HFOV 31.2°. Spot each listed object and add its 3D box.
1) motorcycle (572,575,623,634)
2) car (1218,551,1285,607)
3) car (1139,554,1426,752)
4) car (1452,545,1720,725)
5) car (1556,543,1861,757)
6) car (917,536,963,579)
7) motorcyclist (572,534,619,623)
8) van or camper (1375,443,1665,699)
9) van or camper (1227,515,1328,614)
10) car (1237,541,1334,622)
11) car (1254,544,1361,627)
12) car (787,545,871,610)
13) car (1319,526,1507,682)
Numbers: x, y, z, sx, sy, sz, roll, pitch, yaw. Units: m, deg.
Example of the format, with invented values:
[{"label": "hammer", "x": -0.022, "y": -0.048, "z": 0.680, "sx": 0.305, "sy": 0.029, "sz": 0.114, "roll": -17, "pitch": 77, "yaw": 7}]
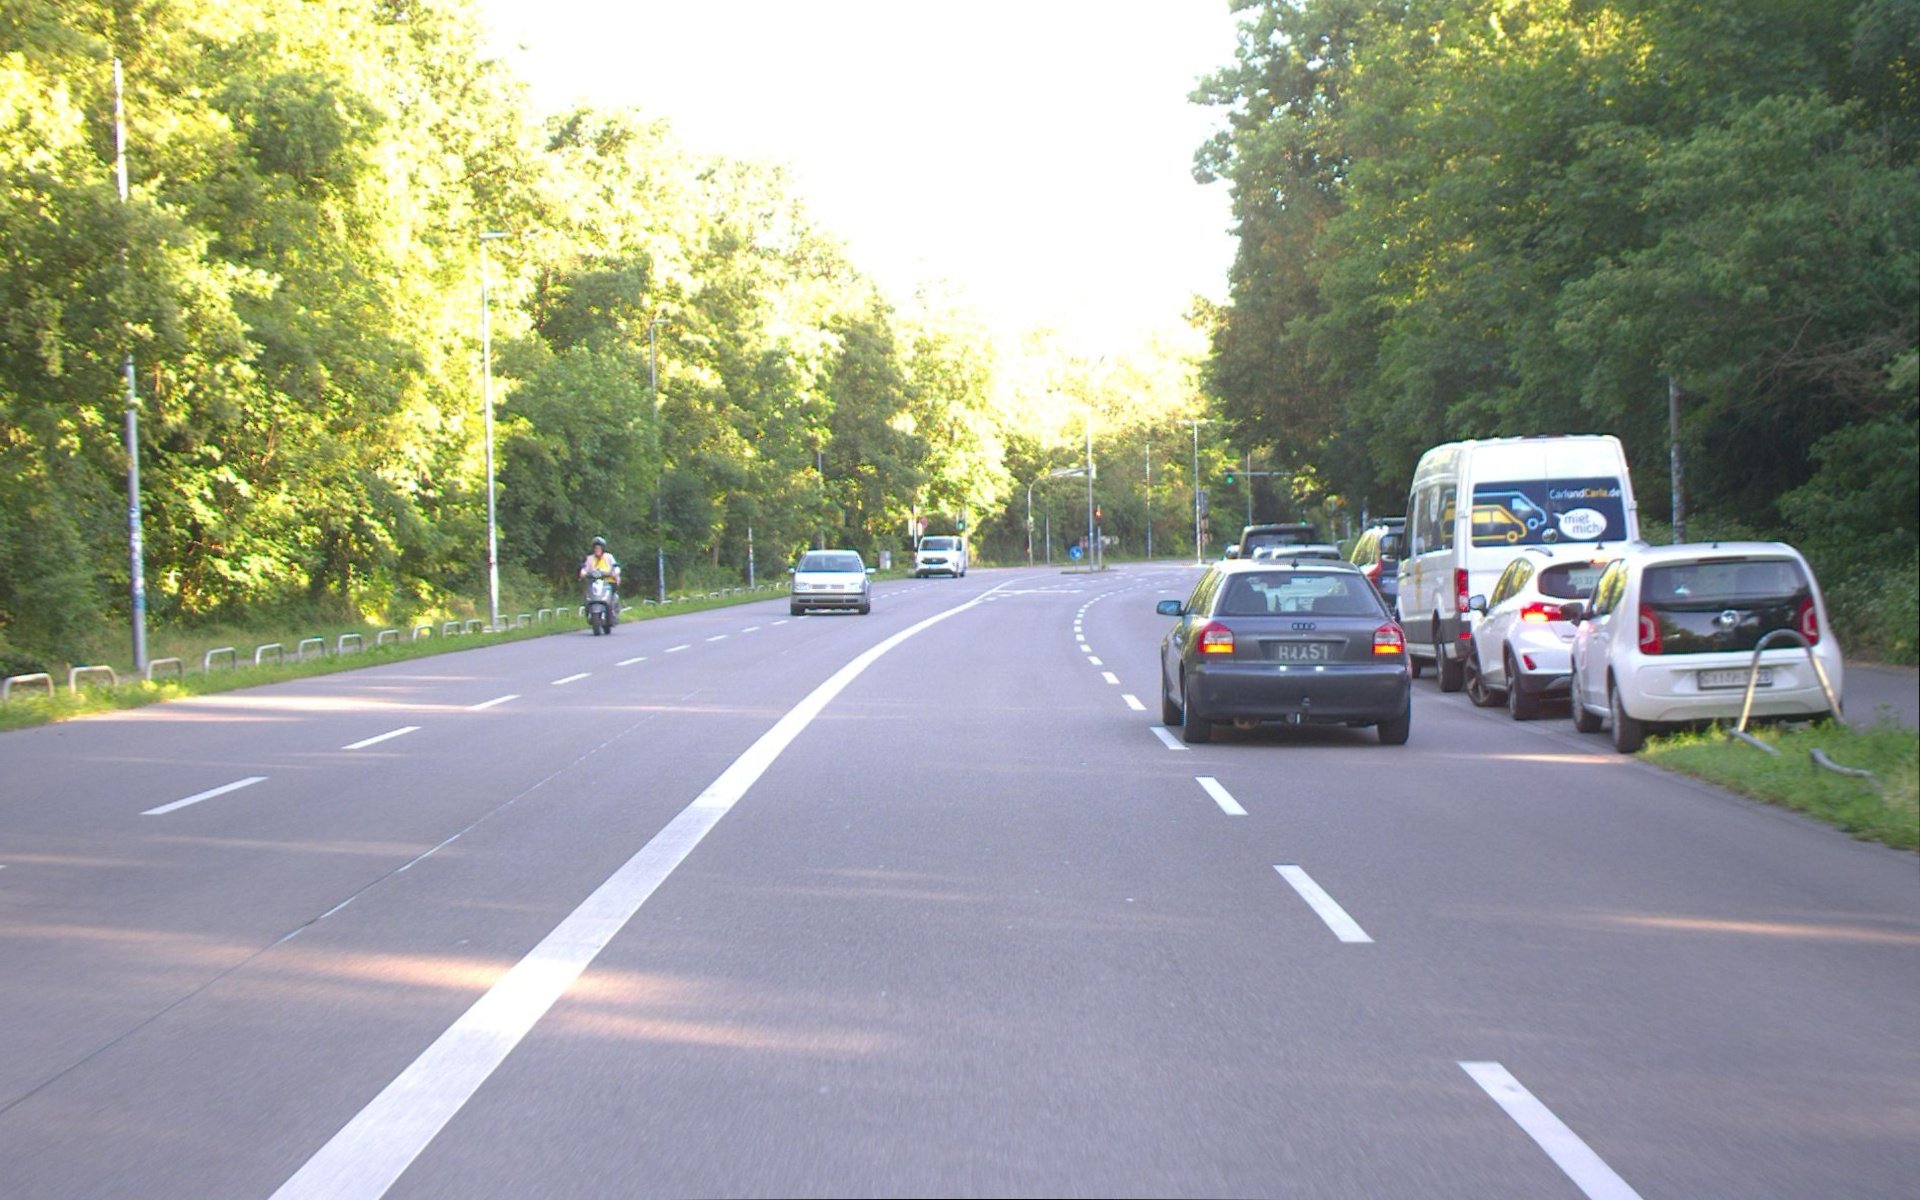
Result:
[{"label": "motorcycle", "x": -6.247, "y": 0.065, "z": 59.269, "sx": 0.636, "sy": 0.992, "sz": 2.077, "roll": 0, "pitch": 1, "yaw": 1}, {"label": "car", "x": 8.099, "y": -0.591, "z": 95.849, "sx": 1.728, "sy": 1.436, "sz": 4.666, "roll": -3, "pitch": 1, "yaw": 4}, {"label": "car", "x": 2.454, "y": 0.362, "z": 27.052, "sx": 1.727, "sy": 1.436, "sz": 4.090, "roll": 0, "pitch": 1, "yaw": -2}, {"label": "car", "x": 5.533, "y": 0.264, "z": 30.847, "sx": 1.723, "sy": 1.491, "sz": 4.145, "roll": 0, "pitch": 1, "yaw": 1}, {"label": "car", "x": 5.599, "y": 0.325, "z": 26.107, "sx": 1.723, "sy": 1.491, "sz": 3.774, "roll": -1, "pitch": 1, "yaw": 4}, {"label": "car", "x": -0.938, "y": -2.004, "z": 163.182, "sx": 1.993, "sy": 1.985, "sz": 4.997, "roll": 0, "pitch": 1, "yaw": 2}, {"label": "motorcyclist", "x": -6.263, "y": -0.369, "z": 59.096, "sx": 0.724, "sy": 1.500, "sz": 0.672, "roll": -1, "pitch": 0, "yaw": 1}, {"label": "van or camper", "x": 5.926, "y": -0.337, "z": 37.133, "sx": 2.119, "sy": 2.509, "sz": 5.980, "roll": -1, "pitch": 1, "yaw": 0}, {"label": "van or camper", "x": 6.753, "y": -0.764, "z": 73.545, "sx": 1.893, "sy": 1.942, "sz": 5.133, "roll": -3, "pitch": 1, "yaw": 3}, {"label": "car", "x": 6.429, "y": -0.389, "z": 68.231, "sx": 1.728, "sy": 1.538, "sz": 4.217, "roll": -1, "pitch": 1, "yaw": 3}, {"label": "car", "x": 6.287, "y": -0.284, "z": 62.462, "sx": 1.728, "sy": 1.436, "sz": 4.100, "roll": 0, "pitch": 1, "yaw": 3}, {"label": "car", "x": -2.907, "y": -0.519, "z": 76.840, "sx": 1.681, "sy": 1.402, "sz": 3.890, "roll": 0, "pitch": 1, "yaw": 1}, {"label": "car", "x": 5.787, "y": 0.010, "z": 44.462, "sx": 1.829, "sy": 1.861, "sz": 5.074, "roll": -1, "pitch": 1, "yaw": 1}]
